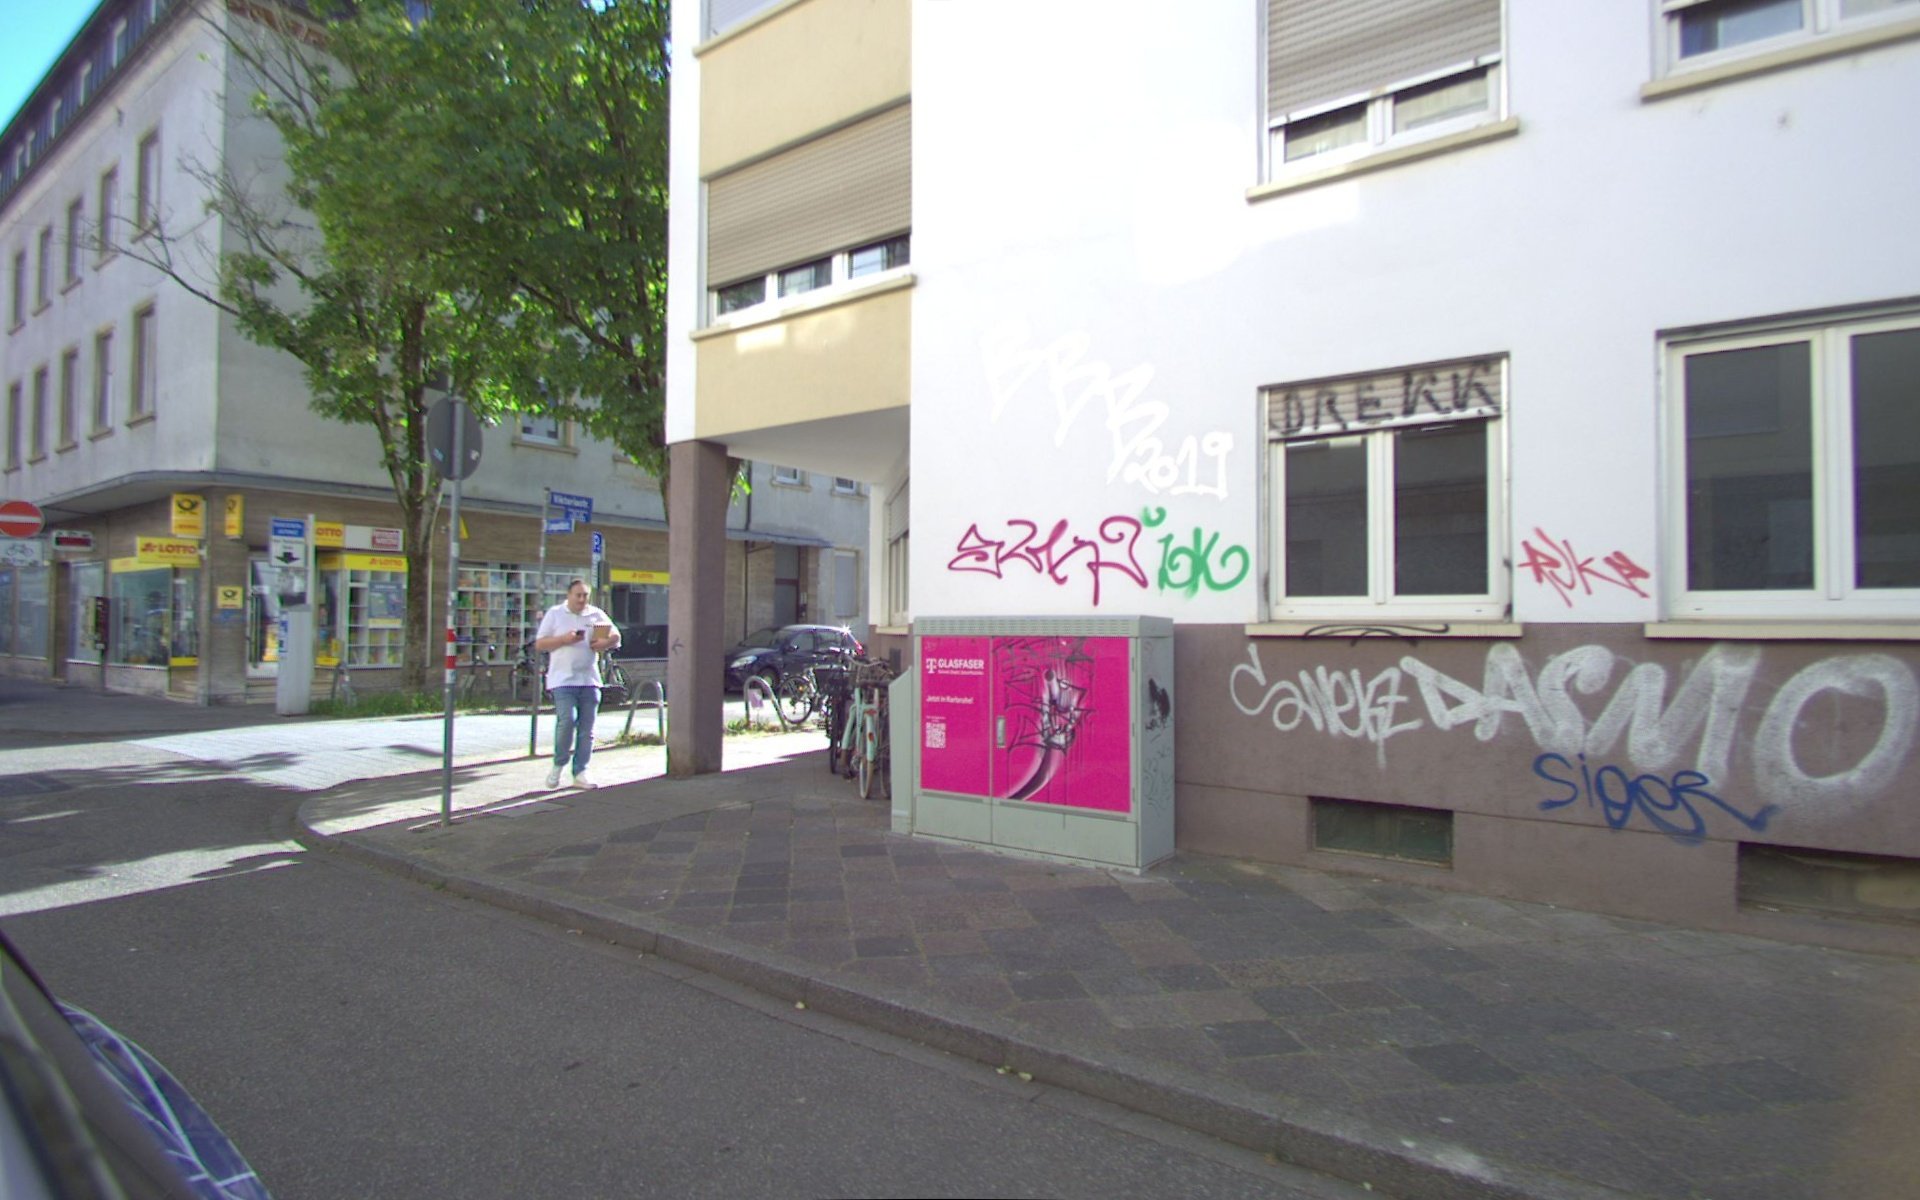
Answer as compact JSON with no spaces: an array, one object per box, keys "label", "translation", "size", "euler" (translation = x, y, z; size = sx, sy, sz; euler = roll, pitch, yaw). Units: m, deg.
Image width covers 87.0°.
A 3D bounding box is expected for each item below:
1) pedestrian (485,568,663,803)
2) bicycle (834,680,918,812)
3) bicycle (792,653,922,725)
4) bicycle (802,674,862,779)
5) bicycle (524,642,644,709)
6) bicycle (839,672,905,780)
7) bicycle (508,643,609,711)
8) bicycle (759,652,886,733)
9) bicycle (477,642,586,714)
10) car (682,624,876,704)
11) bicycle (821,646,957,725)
[{"label":"pedestrian","translation":[-3.318,0.712,8.713],"size":[1.243,1.847,0.902],"euler":[-3,-4,36]},{"label":"bicycle","translation":[-0.735,1.168,8.463],"size":[0.424,0.889,1.574],"euler":[-1,-1,-15]},{"label":"bicycle","translation":[-1.636,1.388,15.833],"size":[2.179,1.037,0.633],"euler":[-4,-4,38]},{"label":"bicycle","translation":[-1.283,1.207,9.991],"size":[0.397,0.904,1.589],"euler":[1,-3,-13]},{"label":"bicycle","translation":[-7.151,1.403,19.217],"size":[2.419,1.135,0.702],"euler":[1,-2,29]},{"label":"bicycle","translation":[-0.913,1.218,10.191],"size":[0.376,0.920,1.868],"euler":[1,-2,-13]},{"label":"bicycle","translation":[-7.446,1.388,18.699],"size":[2.399,1.126,0.517],"euler":[0,-2,36]},{"label":"bicycle","translation":[-2.019,1.311,14.680],"size":[2.058,1.110,0.477],"euler":[-2,-3,35]},{"label":"bicycle","translation":[-7.660,1.356,18.034],"size":[2.304,1.152,0.701],"euler":[0,-2,37]},{"label":"car","translation":[-4.054,1.409,23.303],"size":[1.899,1.598,4.186],"euler":[1,-1,38]},{"label":"bicycle","translation":[-1.181,1.368,16.320],"size":[2.434,1.194,0.498],"euler":[-3,-5,36]}]
